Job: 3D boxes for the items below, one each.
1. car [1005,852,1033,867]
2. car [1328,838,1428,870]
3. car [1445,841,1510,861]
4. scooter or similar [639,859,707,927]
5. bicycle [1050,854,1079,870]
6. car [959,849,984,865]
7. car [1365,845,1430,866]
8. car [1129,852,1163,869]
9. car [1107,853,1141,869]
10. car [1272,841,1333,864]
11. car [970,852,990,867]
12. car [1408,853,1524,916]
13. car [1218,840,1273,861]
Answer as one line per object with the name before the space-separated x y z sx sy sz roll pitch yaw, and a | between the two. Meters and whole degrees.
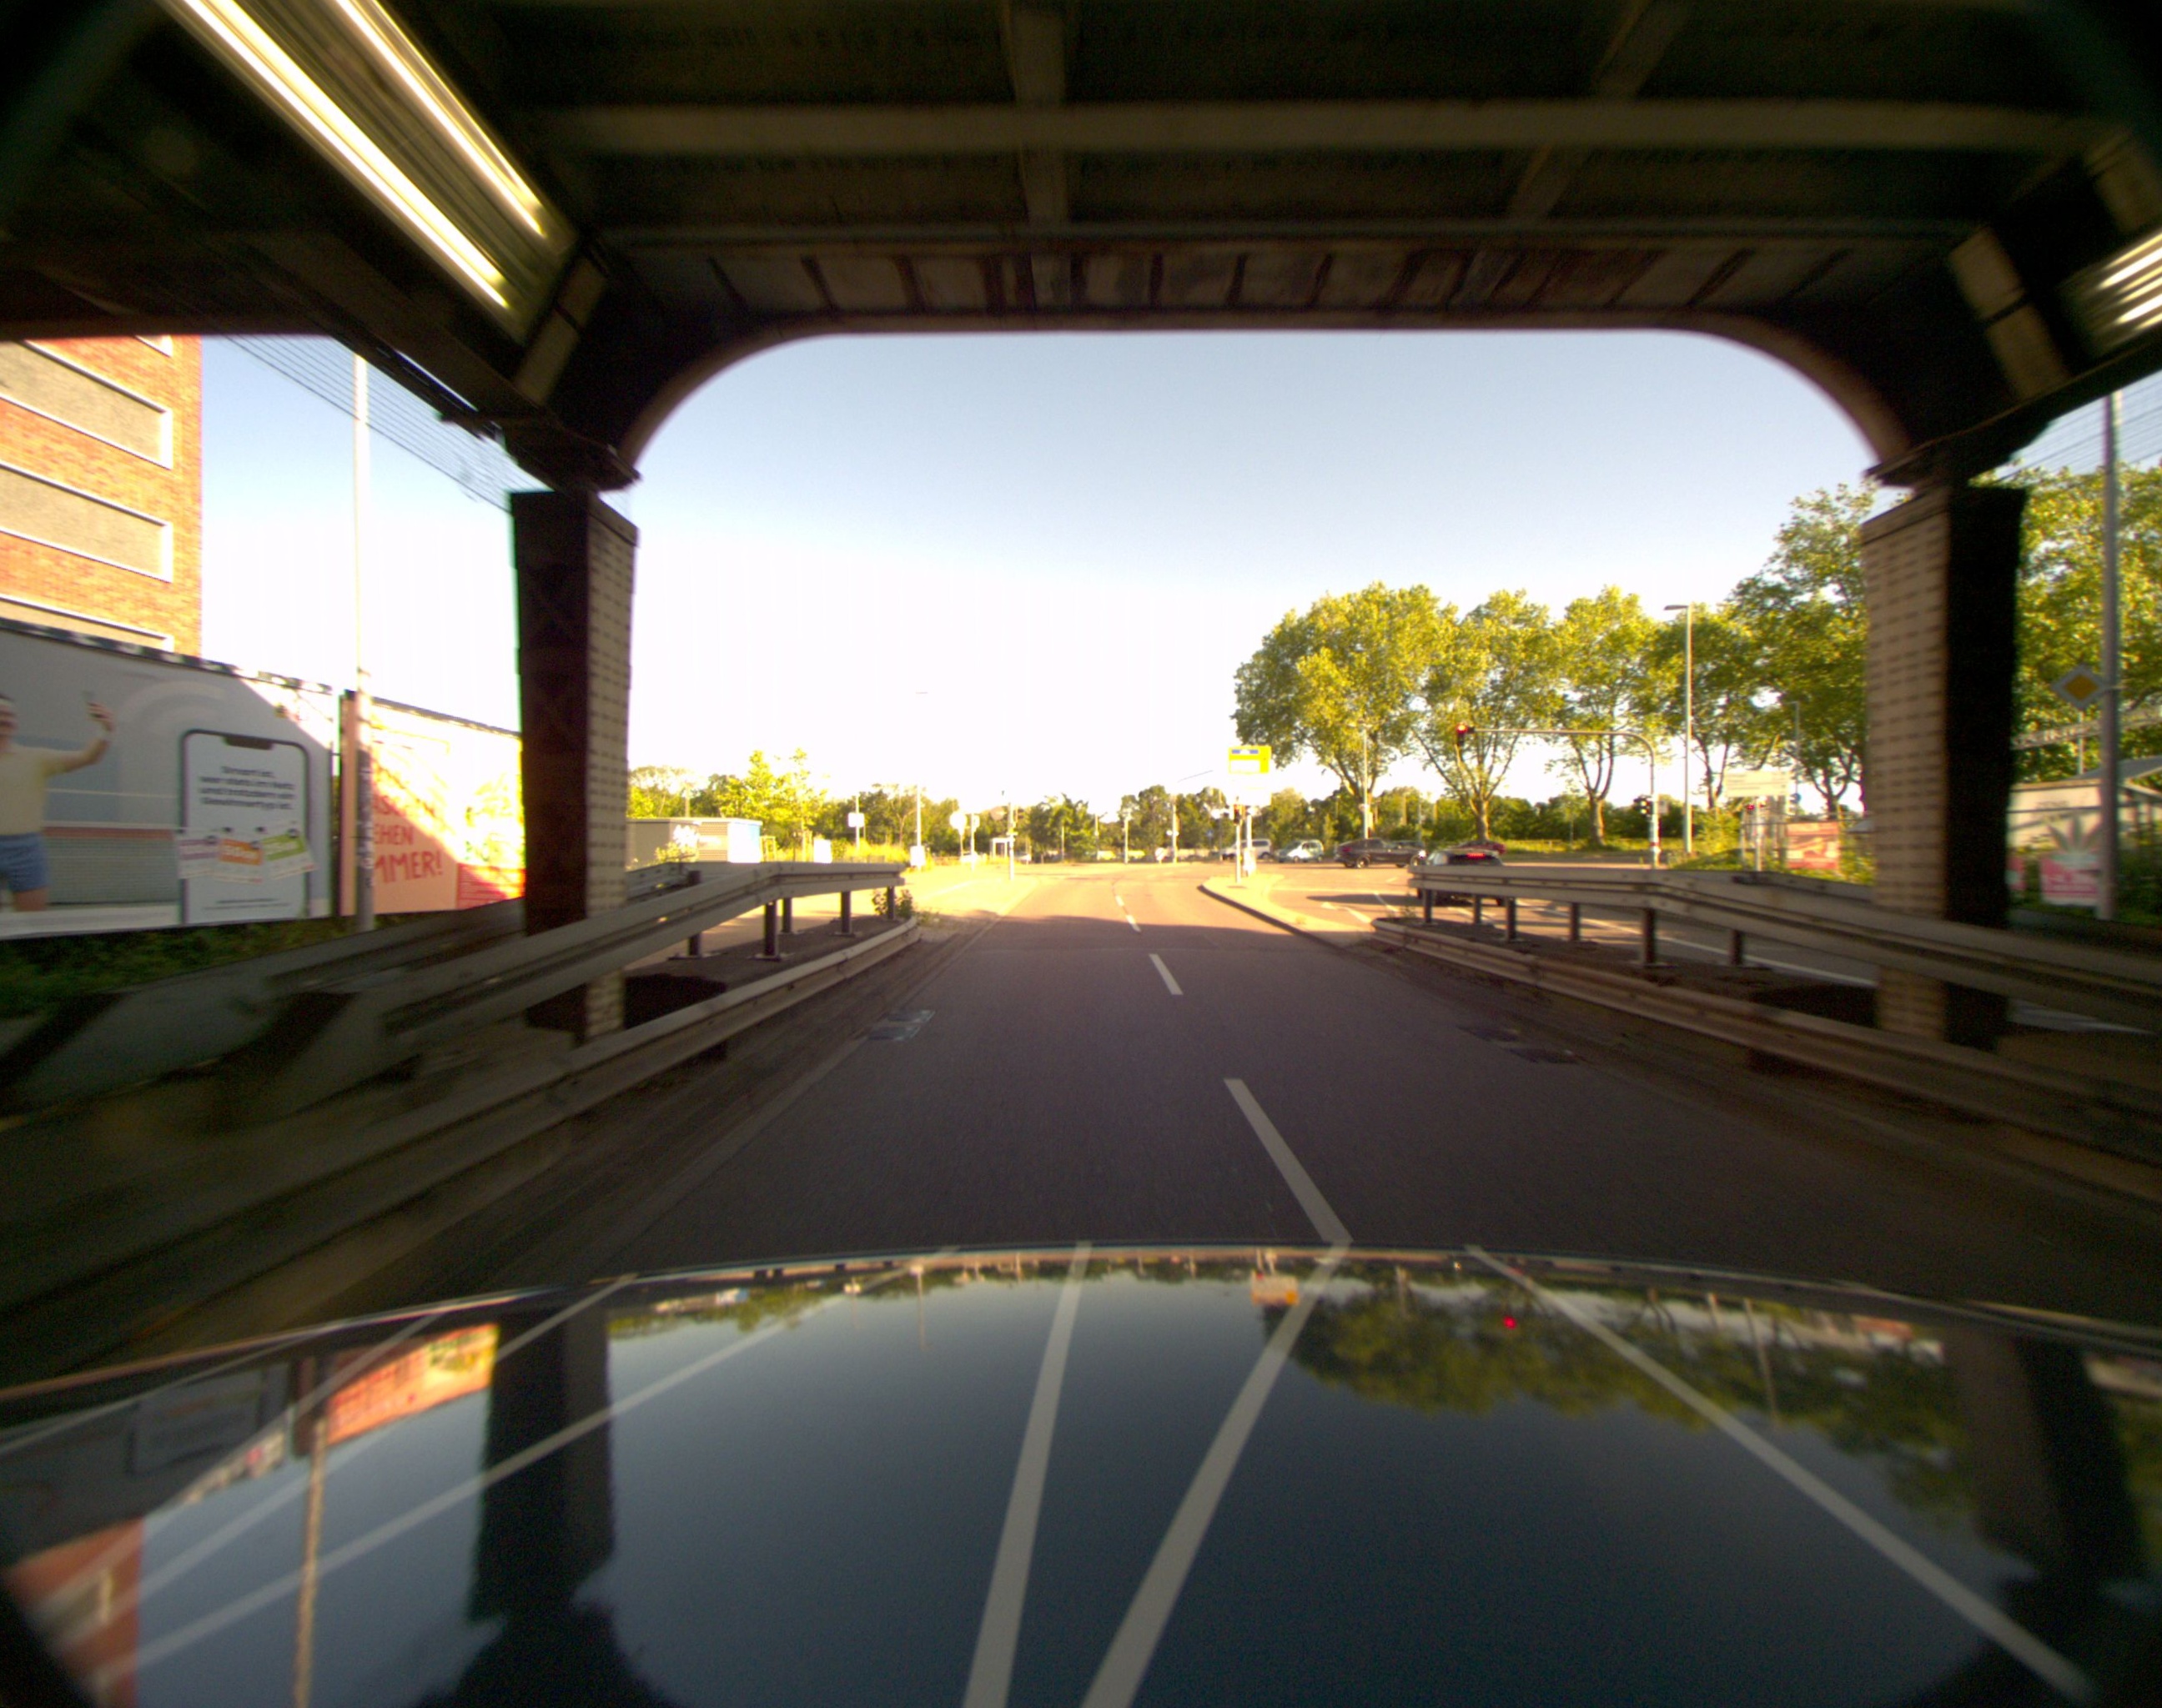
car | -7.472 0.604 91.162 2.180 1.720 4.484 -1 0 -22
car | 16.427 -0.014 42.234 4.747 1.704 2.048 -1 1 1
car | 32.511 -0.260 62.427 4.319 1.590 1.860 -1 1 6
scooter or similar | -7.601 0.695 14.211 0.538 1.190 1.291 0 1 1
bicycle | -1.669 0.818 76.167 2.947 1.607 0.908 0 1 34
car | -10.474 0.288 73.049 1.890 1.502 4.272 -1 0 -2
car | 22.379 0.065 53.718 3.940 1.419 1.906 -1 1 -18
car | 6.774 0.682 79.574 1.843 1.673 3.992 -1 0 -24
car | 4.465 0.721 79.012 2.016 1.655 3.843 -1 0 -24
car | 16.050 -0.131 55.030 4.127 1.626 1.916 -1 1 -30
car | -11.847 0.623 89.240 1.986 1.798 4.201 -1 0 -3
car | 10.535 0.746 21.149 1.953 1.509 4.391 1 1 14
car | 13.631 -0.256 63.173 4.262 1.733 1.860 0 0 1
